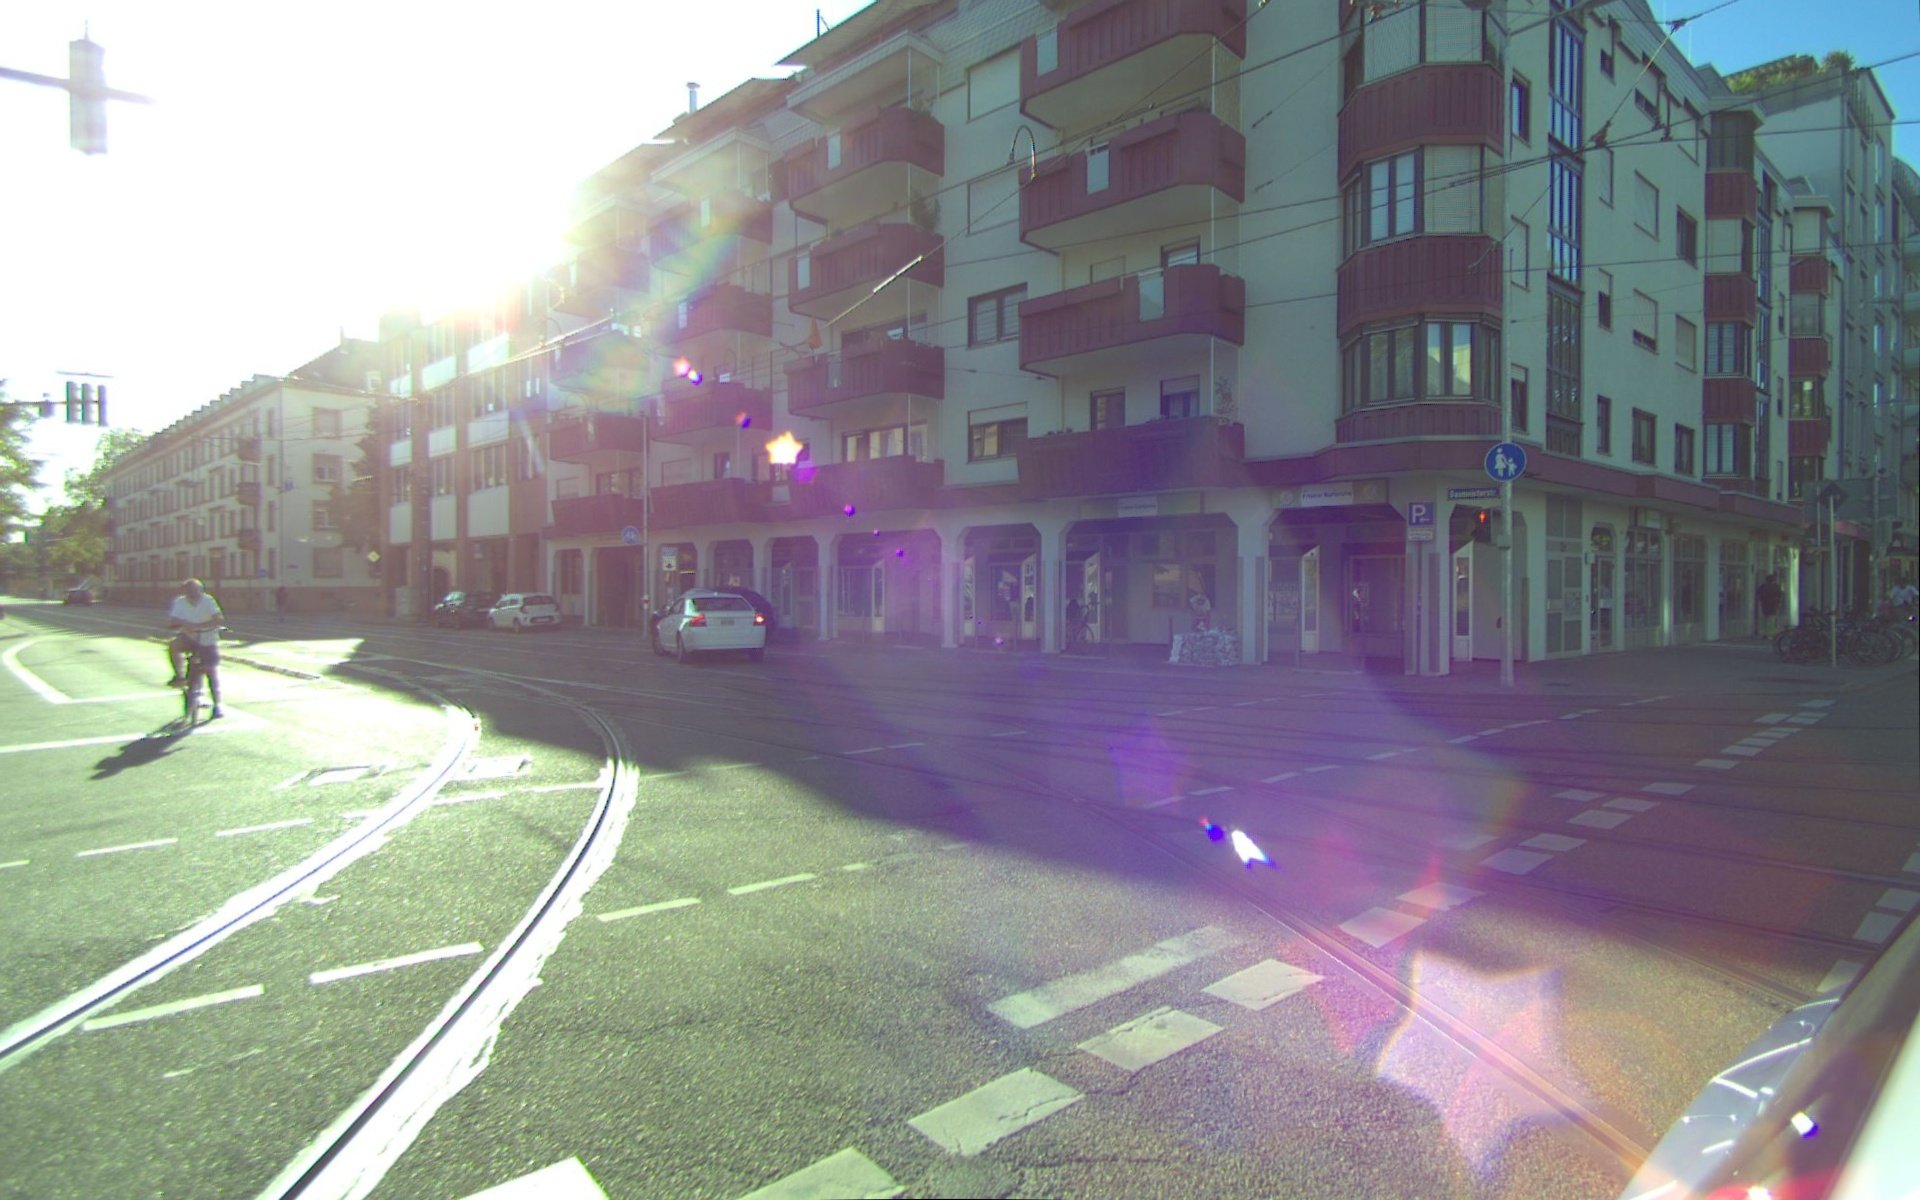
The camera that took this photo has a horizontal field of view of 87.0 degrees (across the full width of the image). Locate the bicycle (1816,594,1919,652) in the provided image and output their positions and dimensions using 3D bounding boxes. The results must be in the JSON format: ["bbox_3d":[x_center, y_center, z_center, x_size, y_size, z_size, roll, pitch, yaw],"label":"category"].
[{"bbox_3d":[19.570,0.468,21.593,0.562,1.185,1.942,-1,1,-42],"label":"bicycle"}]

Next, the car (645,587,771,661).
[{"bbox_3d":[-5.823,0.464,22.962,1.817,1.474,4.908,-1,1,-26],"label":"car"}]

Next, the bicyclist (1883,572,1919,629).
[{"bbox_3d":[26.638,0.013,28.126,1.044,1.559,1.075,0,1,13],"label":"bicyclist"}]

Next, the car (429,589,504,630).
[{"bbox_3d":[-20.950,0.392,42.866,1.858,1.638,3.992,-2,0,-41],"label":"car"}]

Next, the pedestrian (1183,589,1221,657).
[{"bbox_3d":[4.981,0.465,20.776,0.656,1.367,0.652,0,0,23],"label":"pedestrian"}]

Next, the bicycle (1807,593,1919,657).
[{"bbox_3d":[18.037,0.477,20.238,0.487,1.214,1.628,-1,1,-35],"label":"bicycle"}]

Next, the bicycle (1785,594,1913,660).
[{"bbox_3d":[17.409,0.501,19.862,0.535,1.214,1.808,-1,1,-35],"label":"bicycle"}]

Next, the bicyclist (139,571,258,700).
[{"bbox_3d":[-9.474,0.409,12.598,0.923,1.528,0.998,0,0,39],"label":"bicyclist"}]

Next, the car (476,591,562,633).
[{"bbox_3d":[-17.093,0.457,39.139,1.880,1.489,3.992,-2,0,-41],"label":"car"}]

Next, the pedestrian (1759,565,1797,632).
[{"bbox_3d":[23.581,-0.049,29.175,0.787,1.881,0.724,-1,1,-40],"label":"pedestrian"}]

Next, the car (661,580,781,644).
[{"bbox_3d":[-6.932,0.337,29.096,1.708,1.705,3.900,-1,0,-41],"label":"car"}]

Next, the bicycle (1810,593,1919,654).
[{"bbox_3d":[19.109,0.467,21.186,0.581,1.214,1.978,-1,1,-43],"label":"bicycle"}]

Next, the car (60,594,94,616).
[{"bbox_3d":[-82.978,0.487,95.100,3.983,1.872,1.970,-3,-1,42],"label":"car"}]

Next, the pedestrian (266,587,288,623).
[{"bbox_3d":[-34.124,0.242,50.548,0.985,1.791,0.687,0,0,42],"label":"pedestrian"}]

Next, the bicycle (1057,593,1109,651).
[{"bbox_3d":[2.770,0.471,22.943,0.603,1.214,1.801,-1,1,-12],"label":"bicycle"}]

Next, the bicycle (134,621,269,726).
[{"bbox_3d":[-9.454,0.863,12.579,2.320,1.133,0.834,0,0,40],"label":"bicycle"}]

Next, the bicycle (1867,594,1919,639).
[{"bbox_3d":[26.643,0.446,28.150,0.949,1.198,2.588,0,1,13],"label":"bicycle"}]

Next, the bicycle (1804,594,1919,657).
[{"bbox_3d":[18.437,0.493,20.635,0.487,1.236,1.837,-1,1,-36],"label":"bicycle"}]
